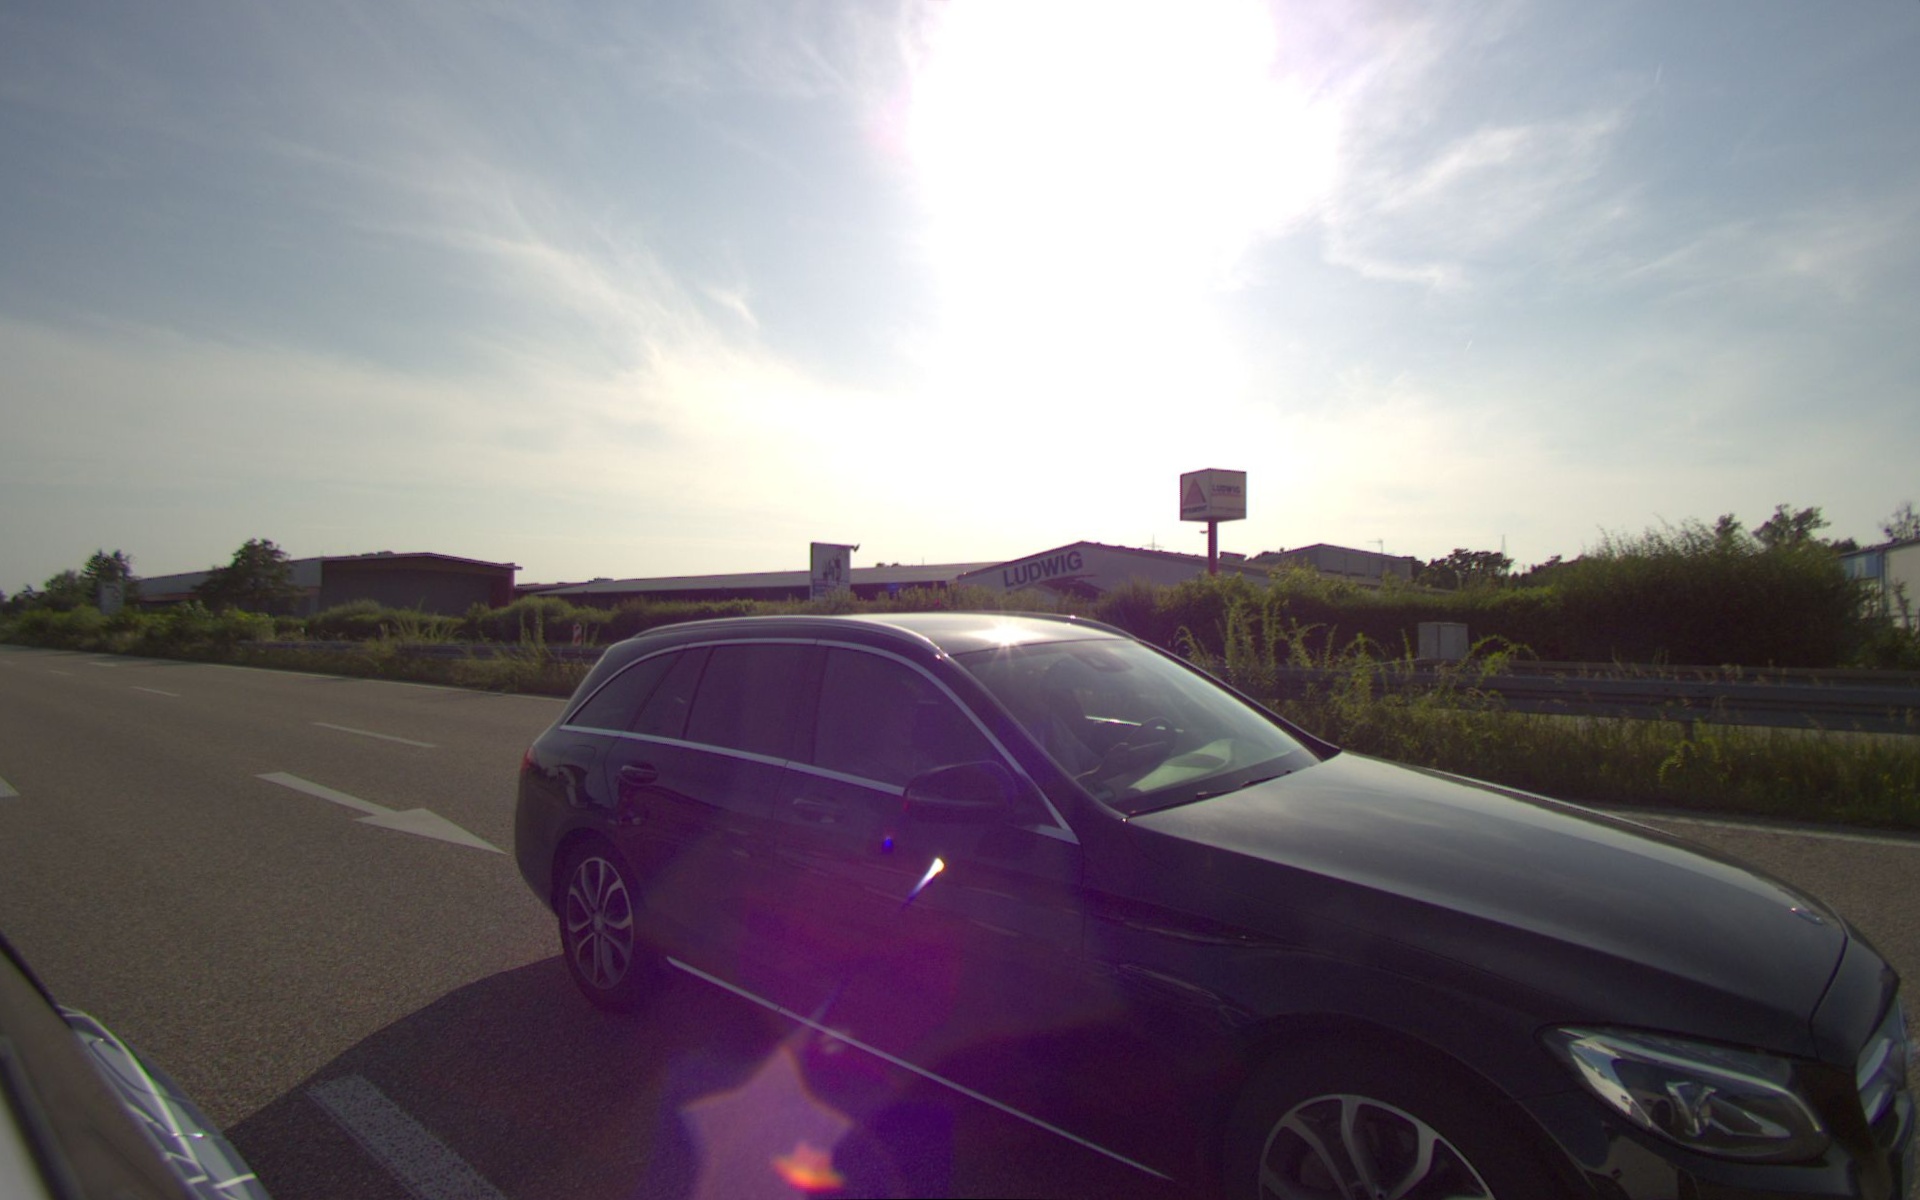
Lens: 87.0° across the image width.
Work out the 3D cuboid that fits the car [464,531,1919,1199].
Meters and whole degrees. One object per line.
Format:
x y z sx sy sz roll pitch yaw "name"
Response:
0.322 0.687 3.141 5.020 1.482 1.556 -1 -1 41 "car"
